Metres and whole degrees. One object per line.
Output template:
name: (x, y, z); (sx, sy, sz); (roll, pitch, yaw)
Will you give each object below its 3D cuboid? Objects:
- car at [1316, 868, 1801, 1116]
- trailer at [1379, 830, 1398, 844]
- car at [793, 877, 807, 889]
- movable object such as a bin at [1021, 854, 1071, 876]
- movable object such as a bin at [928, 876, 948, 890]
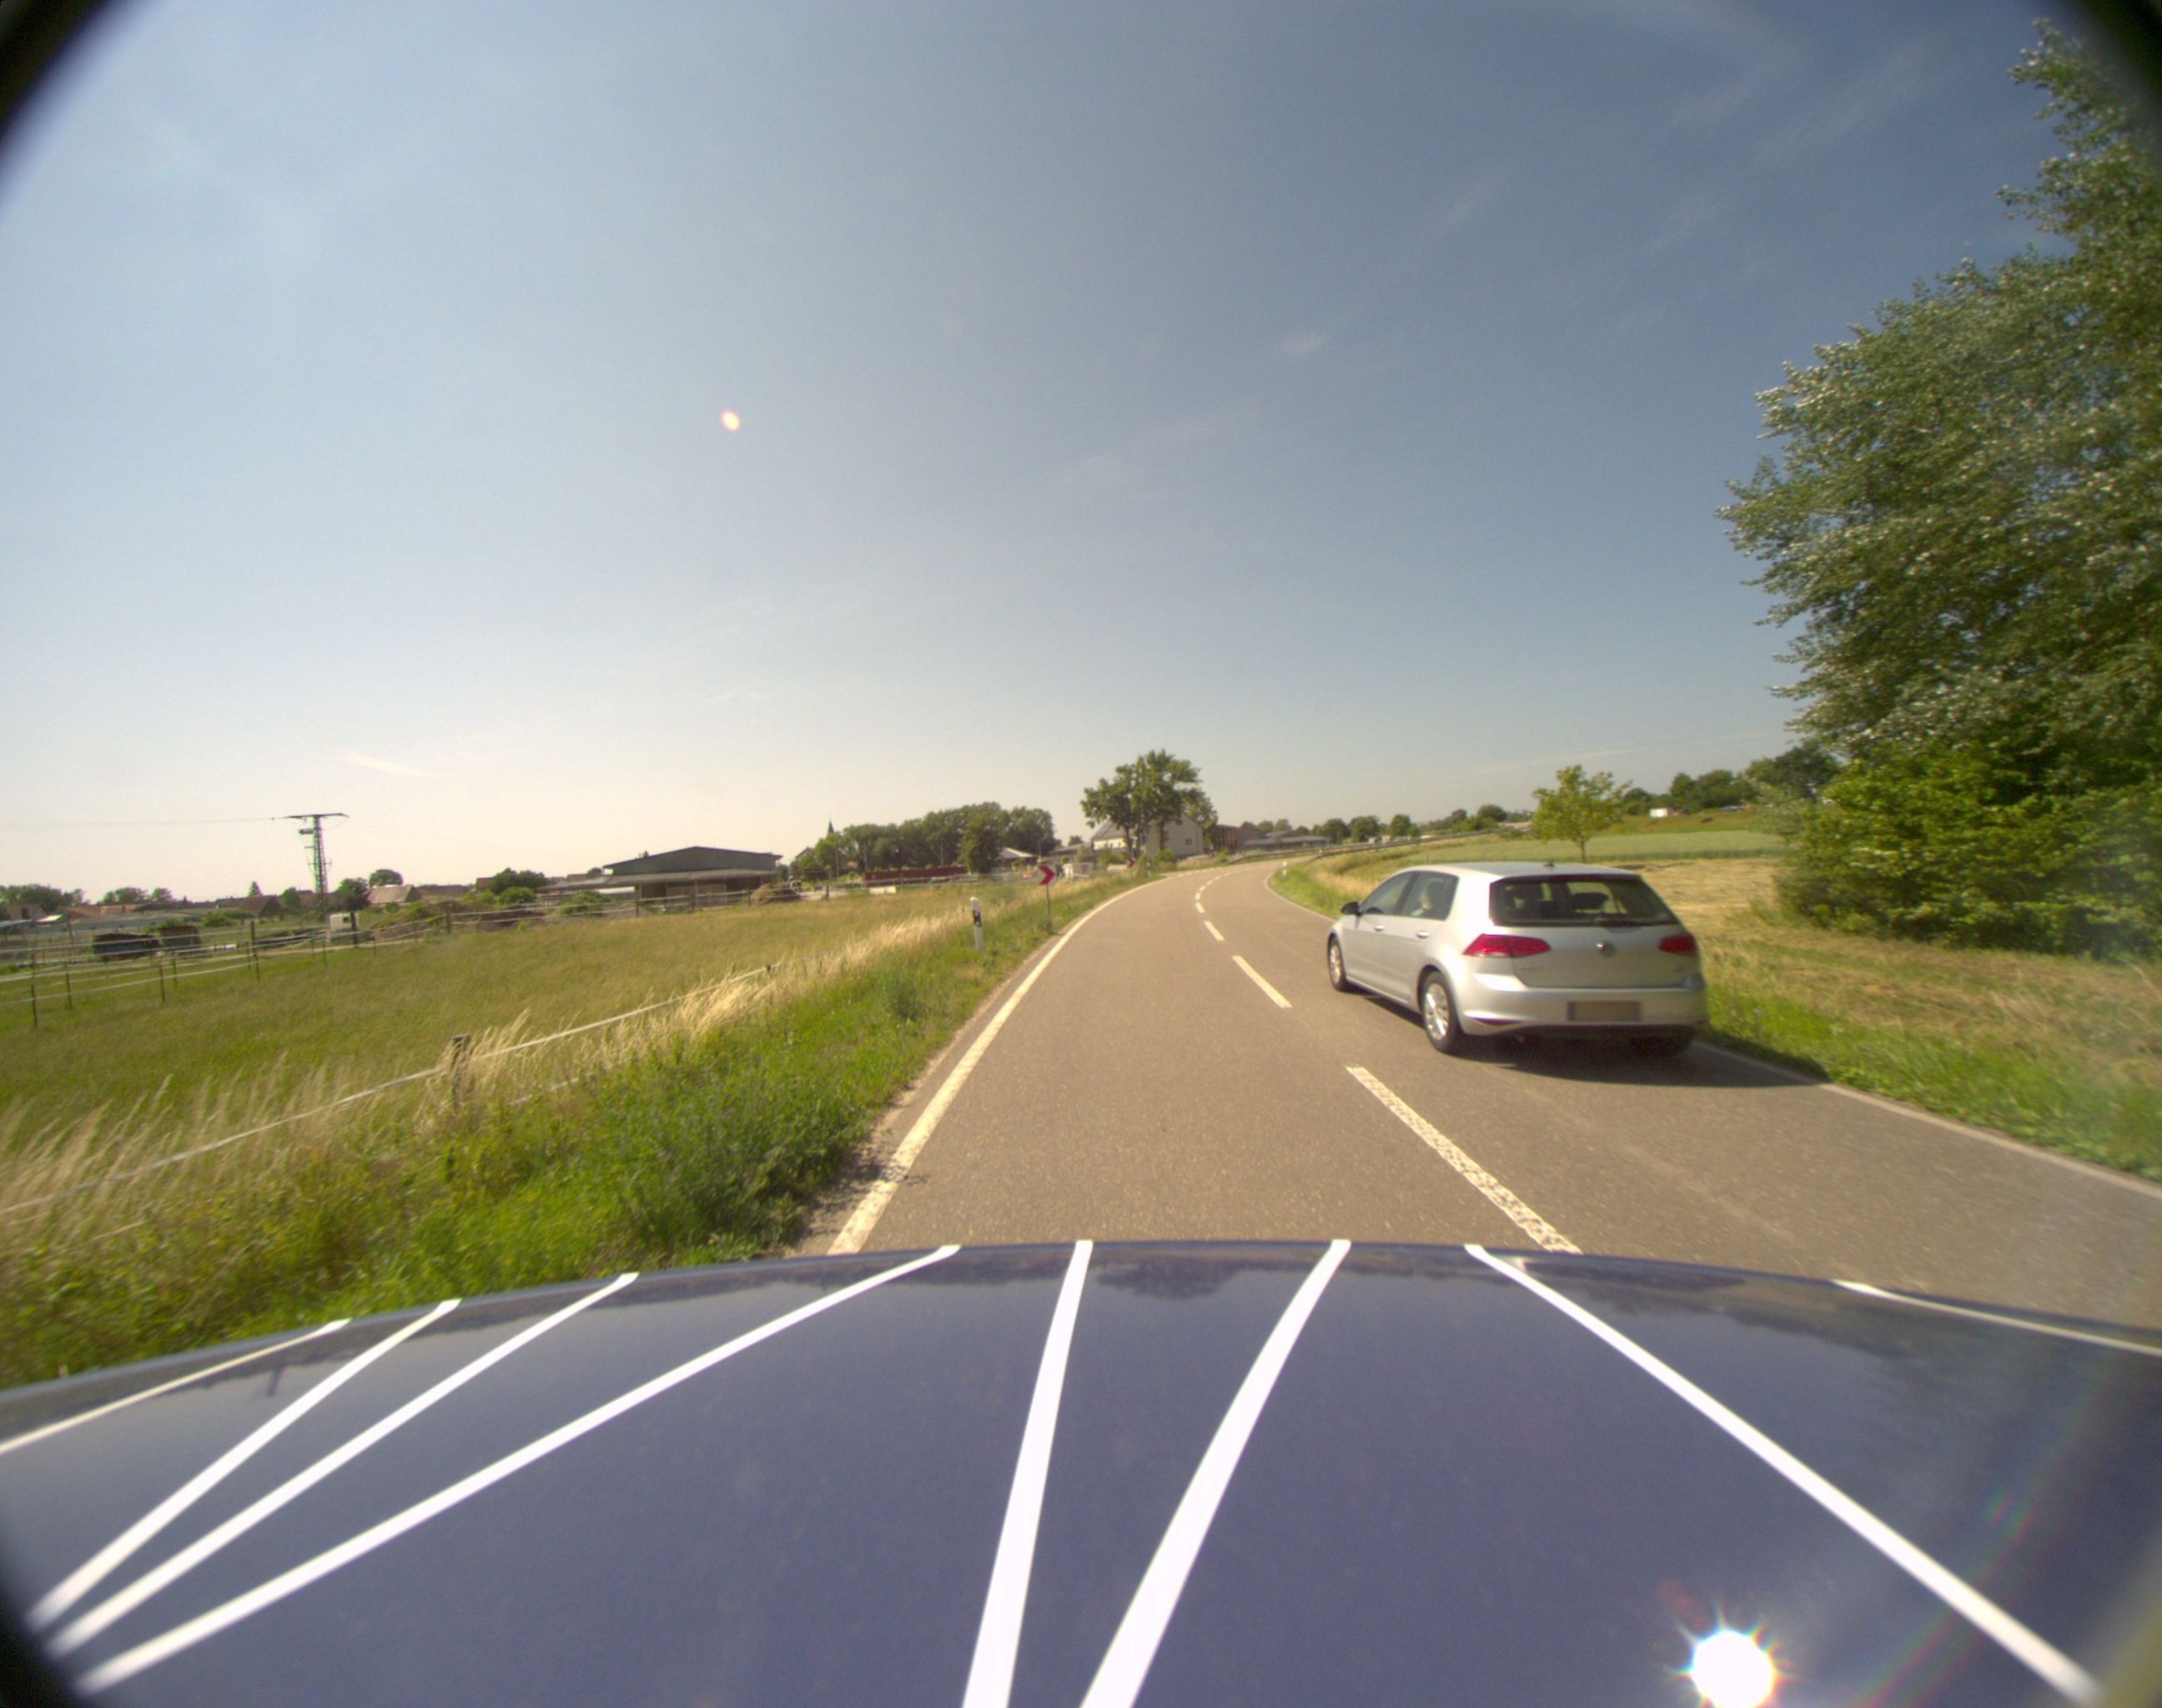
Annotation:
car: (3.524, 0.875, 6.650); (1.788, 1.419, 4.060); (0, 0, 2)
trailer: (69.514, -3.788, 171.895); (2.232, 2.848, 5.045); (-3, 0, 3)
car: (-49.689, 5.143, 134.497); (2.001, 2.002, 3.994); (-7, 1, -22)
movable object such as a bin: (-5.124, 1.581, 111.133); (6.515, 2.753, 3.006); (-4, -1, -36)
movable object such as a bin: (-15.061, 3.077, 79.904); (1.519, 1.341, 1.370); (-5, 1, -32)
